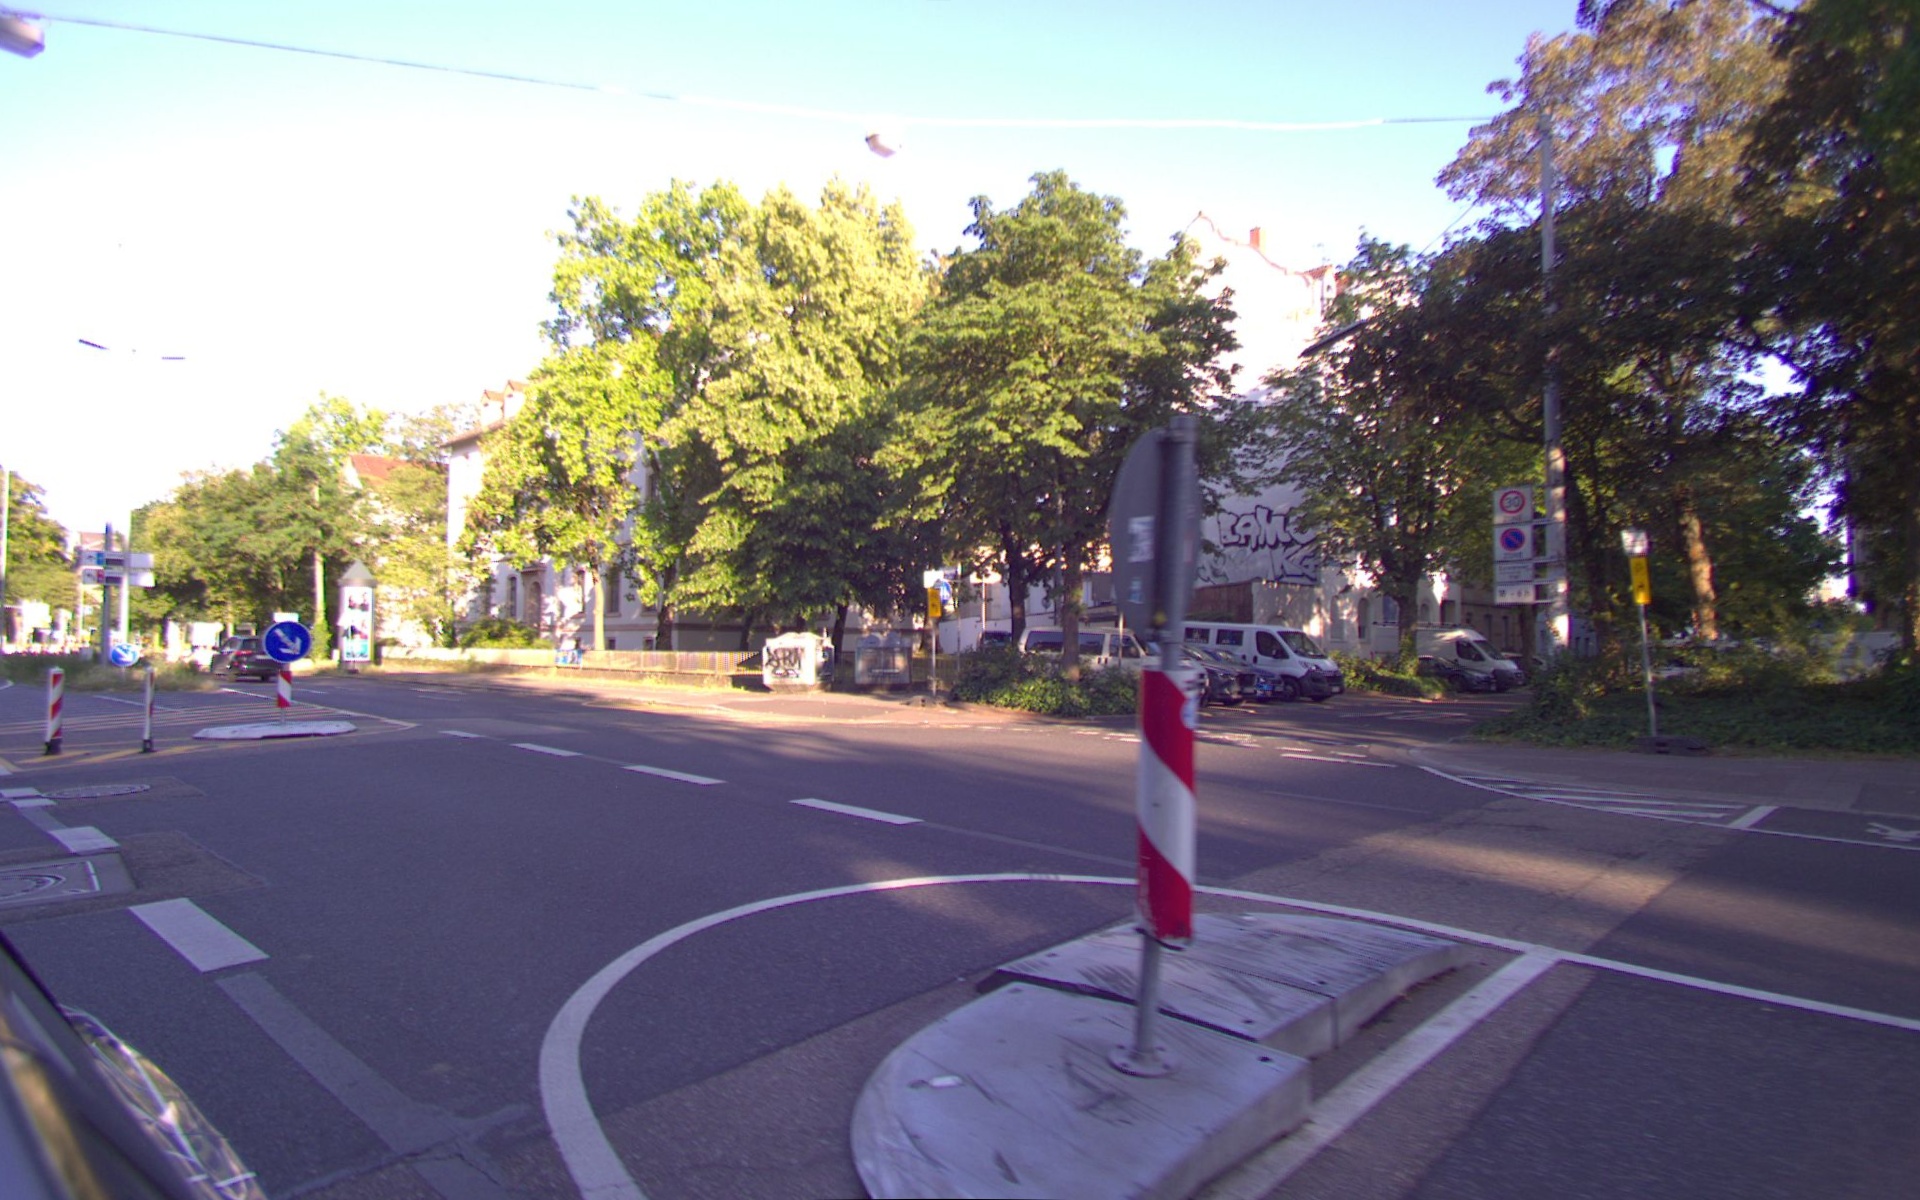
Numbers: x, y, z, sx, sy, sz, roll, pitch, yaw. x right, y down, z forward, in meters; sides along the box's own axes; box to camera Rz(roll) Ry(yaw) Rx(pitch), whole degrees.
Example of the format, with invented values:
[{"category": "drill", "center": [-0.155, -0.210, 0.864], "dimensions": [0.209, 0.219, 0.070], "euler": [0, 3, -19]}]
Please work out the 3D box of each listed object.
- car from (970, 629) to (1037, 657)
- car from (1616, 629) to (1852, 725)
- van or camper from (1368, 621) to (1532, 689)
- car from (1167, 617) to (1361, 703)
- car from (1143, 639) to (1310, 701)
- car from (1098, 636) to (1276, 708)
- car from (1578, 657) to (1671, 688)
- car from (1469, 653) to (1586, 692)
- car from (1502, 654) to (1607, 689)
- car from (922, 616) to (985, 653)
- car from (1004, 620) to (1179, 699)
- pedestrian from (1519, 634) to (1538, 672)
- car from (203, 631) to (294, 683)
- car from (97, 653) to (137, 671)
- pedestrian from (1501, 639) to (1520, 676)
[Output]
[{"category": "car", "center": [2.849, 2.821, 66.276], "dimensions": [4.048, 1.842, 1.966], "euler": [0, -2, -9]}, {"category": "car", "center": [17.170, 1.642, 22.573], "dimensions": [3.998, 1.896, 1.973], "euler": [-2, -2, 41]}, {"category": "van or camper", "center": [19.273, 2.120, 40.013], "dimensions": [5.429, 2.490, 2.042], "euler": [-2, -3, 44]}, {"category": "car", "center": [8.882, 1.714, 29.968], "dimensions": [2.188, 2.306, 5.104], "euler": [1, -3, -42]}, {"category": "car", "center": [7.316, 1.877, 27.986], "dimensions": [3.998, 1.551, 1.972], "euler": [-2, -3, 41]}, {"category": "car", "center": [5.794, 1.792, 26.054], "dimensions": [3.998, 1.674, 1.972], "euler": [-2, -3, 41]}, {"category": "car", "center": [37.270, 4.039, 56.835], "dimensions": [4.044, 1.541, 1.880], "euler": [-2, -3, 44]}, {"category": "car", "center": [24.467, 3.106, 43.688], "dimensions": [4.044, 1.541, 1.880], "euler": [-2, -3, 44]}, {"category": "car", "center": [28.614, 3.420, 48.788], "dimensions": [4.044, 1.541, 1.880], "euler": [-2, -3, 44]}, {"category": "car", "center": [-0.347, 1.804, 52.985], "dimensions": [3.222, 1.837, 1.862], "euler": [-1, -1, 0]}, {"category": "car", "center": [3.209, 1.428, 25.188], "dimensions": [3.998, 1.809, 1.799], "euler": [-2, -3, 41]}, {"category": "pedestrian", "center": [31.075, 2.883, 55.328], "dimensions": [0.681, 2.029, 0.658], "euler": [2, -3, -40]}, {"category": "car", "center": [-25.876, 2.055, 36.737], "dimensions": [1.855, 1.719, 4.570], "euler": [6, -6, -45]}, {"category": "car", "center": [-67.110, 4.916, 80.526], "dimensions": [4.006, 1.283, 1.755], "euler": [-2, -7, 41]}, {"category": "pedestrian", "center": [30.437, 3.196, 55.951], "dimensions": [0.681, 2.029, 0.658], "euler": [2, -3, -40]}]
